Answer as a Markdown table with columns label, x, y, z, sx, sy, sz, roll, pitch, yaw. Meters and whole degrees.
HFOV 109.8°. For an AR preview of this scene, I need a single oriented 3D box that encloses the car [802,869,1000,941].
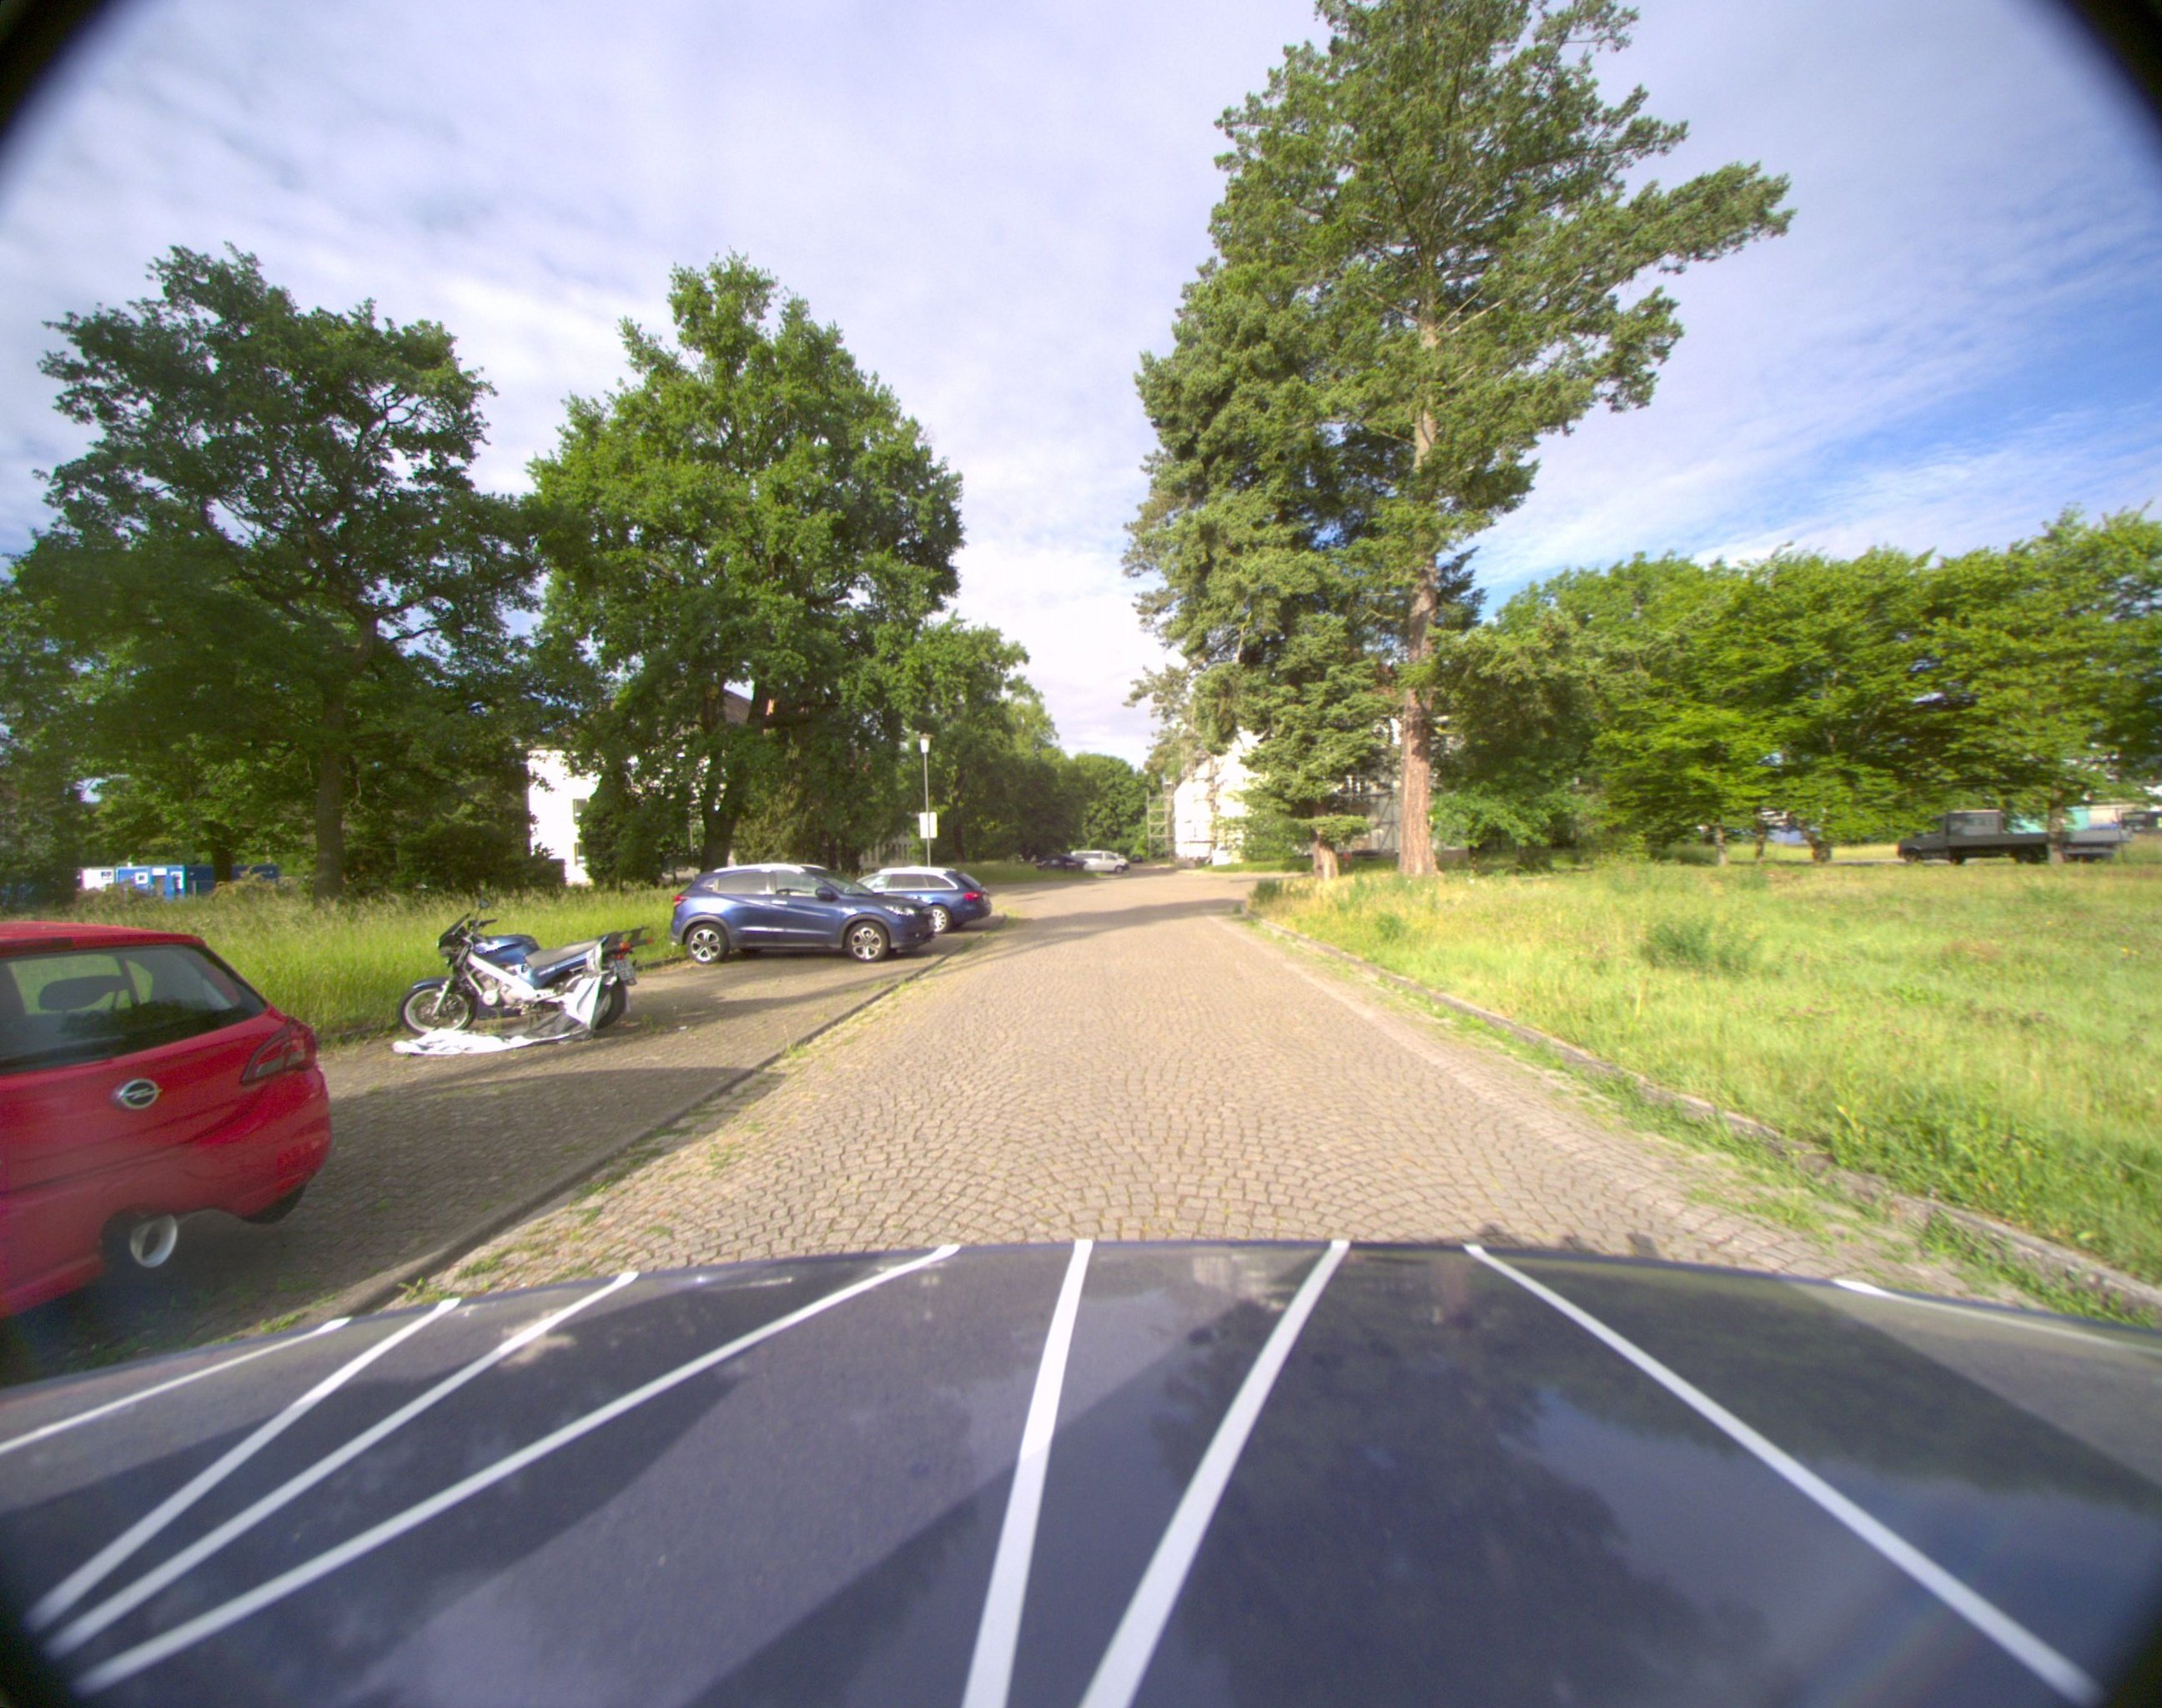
| label | x | y | z | sx | sy | sz | roll | pitch | yaw |
| --- | --- | --- | --- | --- | --- | --- | --- | --- | --- |
| car | -4.049 | 1.138 | 17.494 | 4.034 | 1.442 | 1.783 | -1 | 1 | 5 |

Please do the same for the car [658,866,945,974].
| label | x | y | z | sx | sy | sz | roll | pitch | yaw |
| --- | --- | --- | --- | --- | --- | --- | --- | --- | --- |
| car | -4.554 | 1.061 | 12.811 | 4.135 | 1.560 | 1.746 | -1 | 1 | 2 |

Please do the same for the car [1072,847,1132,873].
| label | x | y | z | sx | sy | sz | roll | pitch | yaw |
| --- | --- | --- | --- | --- | --- | --- | --- | --- | --- |
| car | 1.821 | 0.502 | 66.245 | 5.078 | 2.029 | 2.000 | -2 | 0 | 2 |

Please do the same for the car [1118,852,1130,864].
| label | x | y | z | sx | sy | sz | roll | pitch | yaw |
| --- | --- | --- | --- | --- | --- | --- | --- | --- | --- |
| car | 7.495 | 0.642 | 132.175 | 1.874 | 1.888 | 4.000 | -2 | 1 | 3 |

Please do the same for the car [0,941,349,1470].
| label | x | y | z | sx | sy | sz | roll | pitch | yaw |
| --- | --- | --- | --- | --- | --- | --- | --- | --- | --- |
| car | -5.214 | 1.157 | 2.543 | 3.886 | 1.464 | 1.687 | -1 | 1 | 1 |

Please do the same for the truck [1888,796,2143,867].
| label | x | y | z | sx | sy | sz | roll | pitch | yaw |
| --- | --- | --- | --- | --- | --- | --- | --- | --- | --- |
| truck | 38.486 | -0.836 | 31.777 | 2.417 | 2.572 | 6.961 | -2 | 0 | 5 |

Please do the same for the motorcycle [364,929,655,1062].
| label | x | y | z | sx | sy | sz | roll | pitch | yaw |
| --- | --- | --- | --- | --- | --- | --- | --- | --- | --- |
| motorcycle | -5.297 | 1.300 | 7.106 | 2.306 | 1.107 | 0.607 | -1 | 1 | 4 |

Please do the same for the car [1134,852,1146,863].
| label | x | y | z | sx | sy | sz | roll | pitch | yaw |
| --- | --- | --- | --- | --- | --- | --- | --- | --- | --- |
| car | 10.231 | 0.599 | 132.279 | 1.998 | 1.762 | 4.109 | -2 | 1 | 3 |
